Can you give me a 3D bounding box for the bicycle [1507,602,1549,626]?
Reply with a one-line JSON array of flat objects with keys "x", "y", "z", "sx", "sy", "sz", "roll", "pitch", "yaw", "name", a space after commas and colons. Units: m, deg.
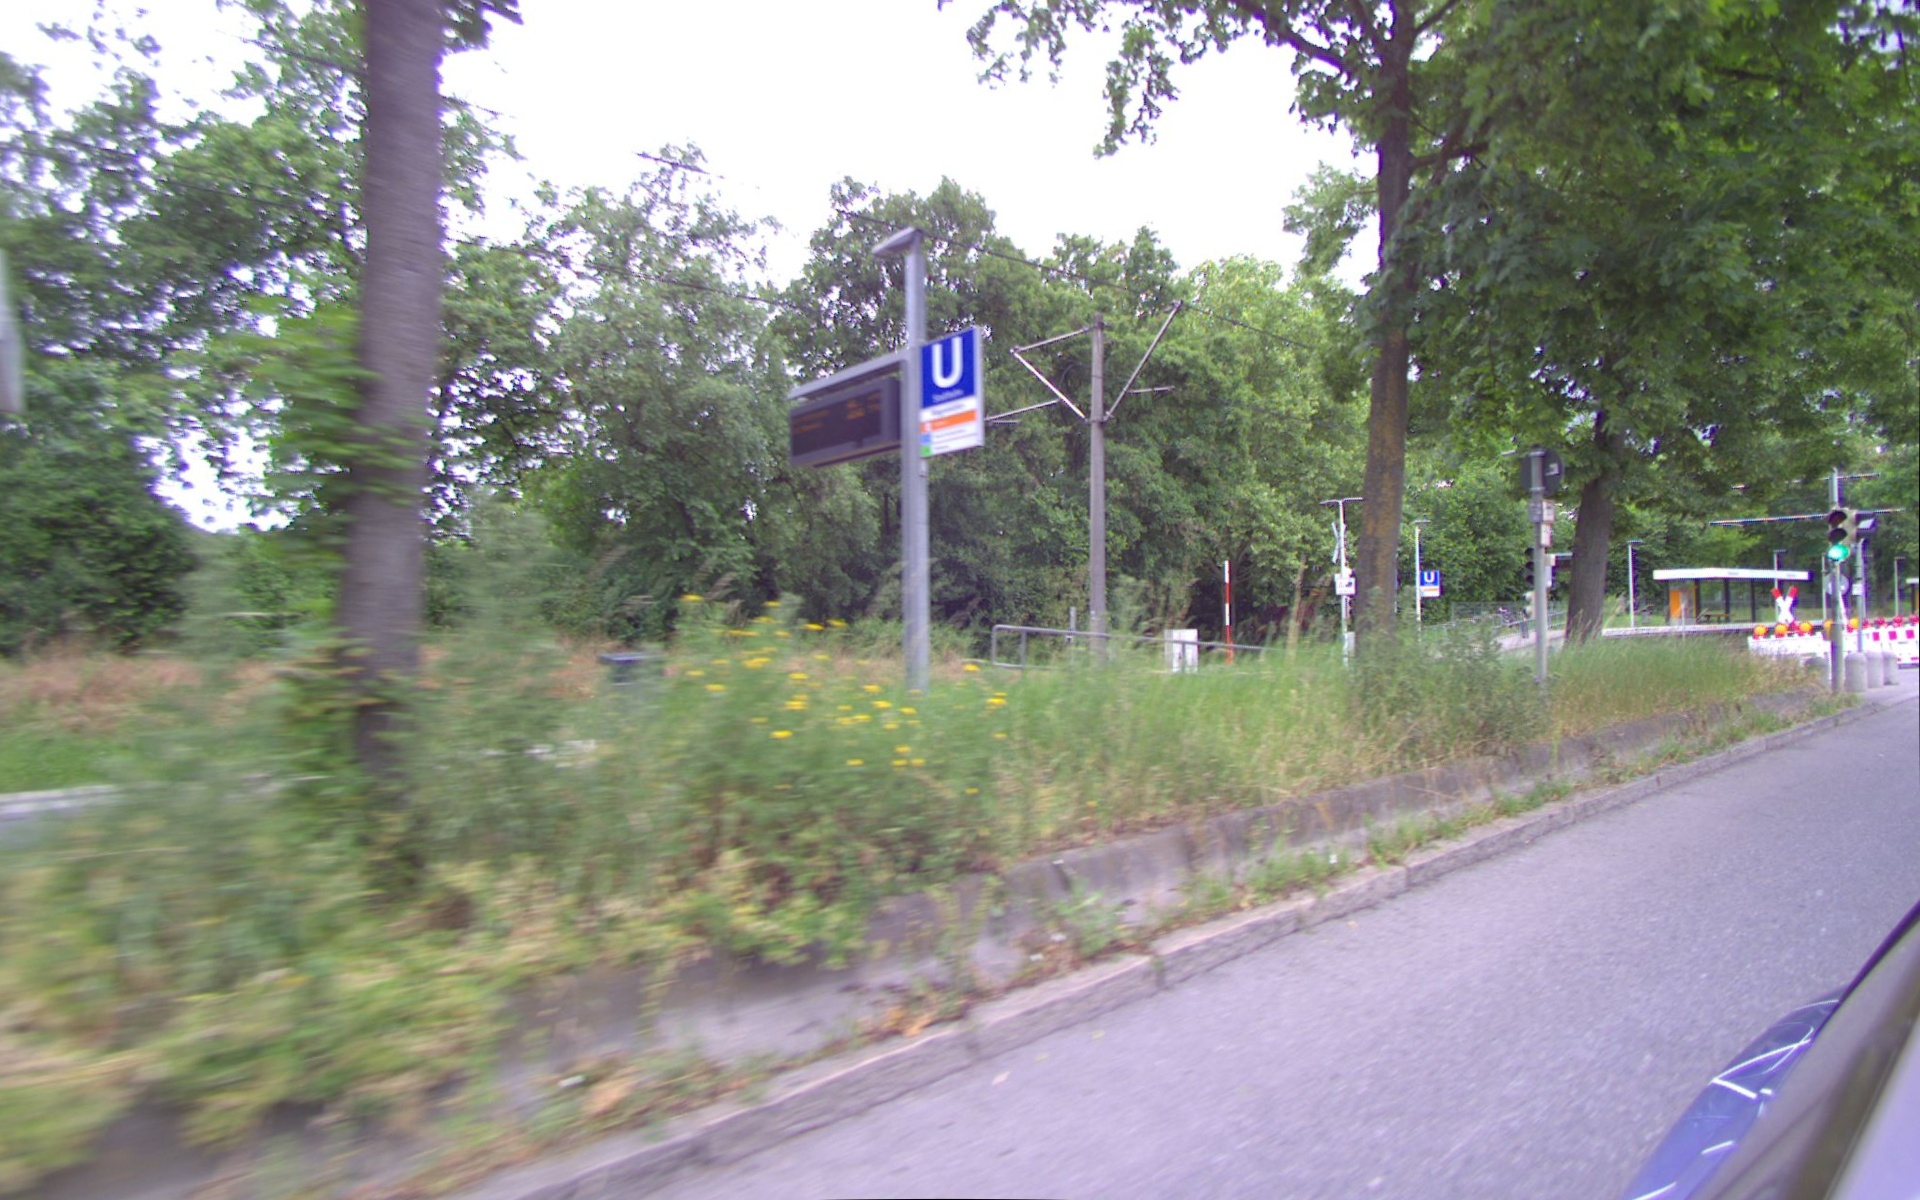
[{"x": 24.629, "y": 0.633, "z": 43.872, "sx": 0.442, "sy": 0.986, "sz": 1.512, "roll": 1, "pitch": -3, "yaw": -37, "name": "bicycle"}]
